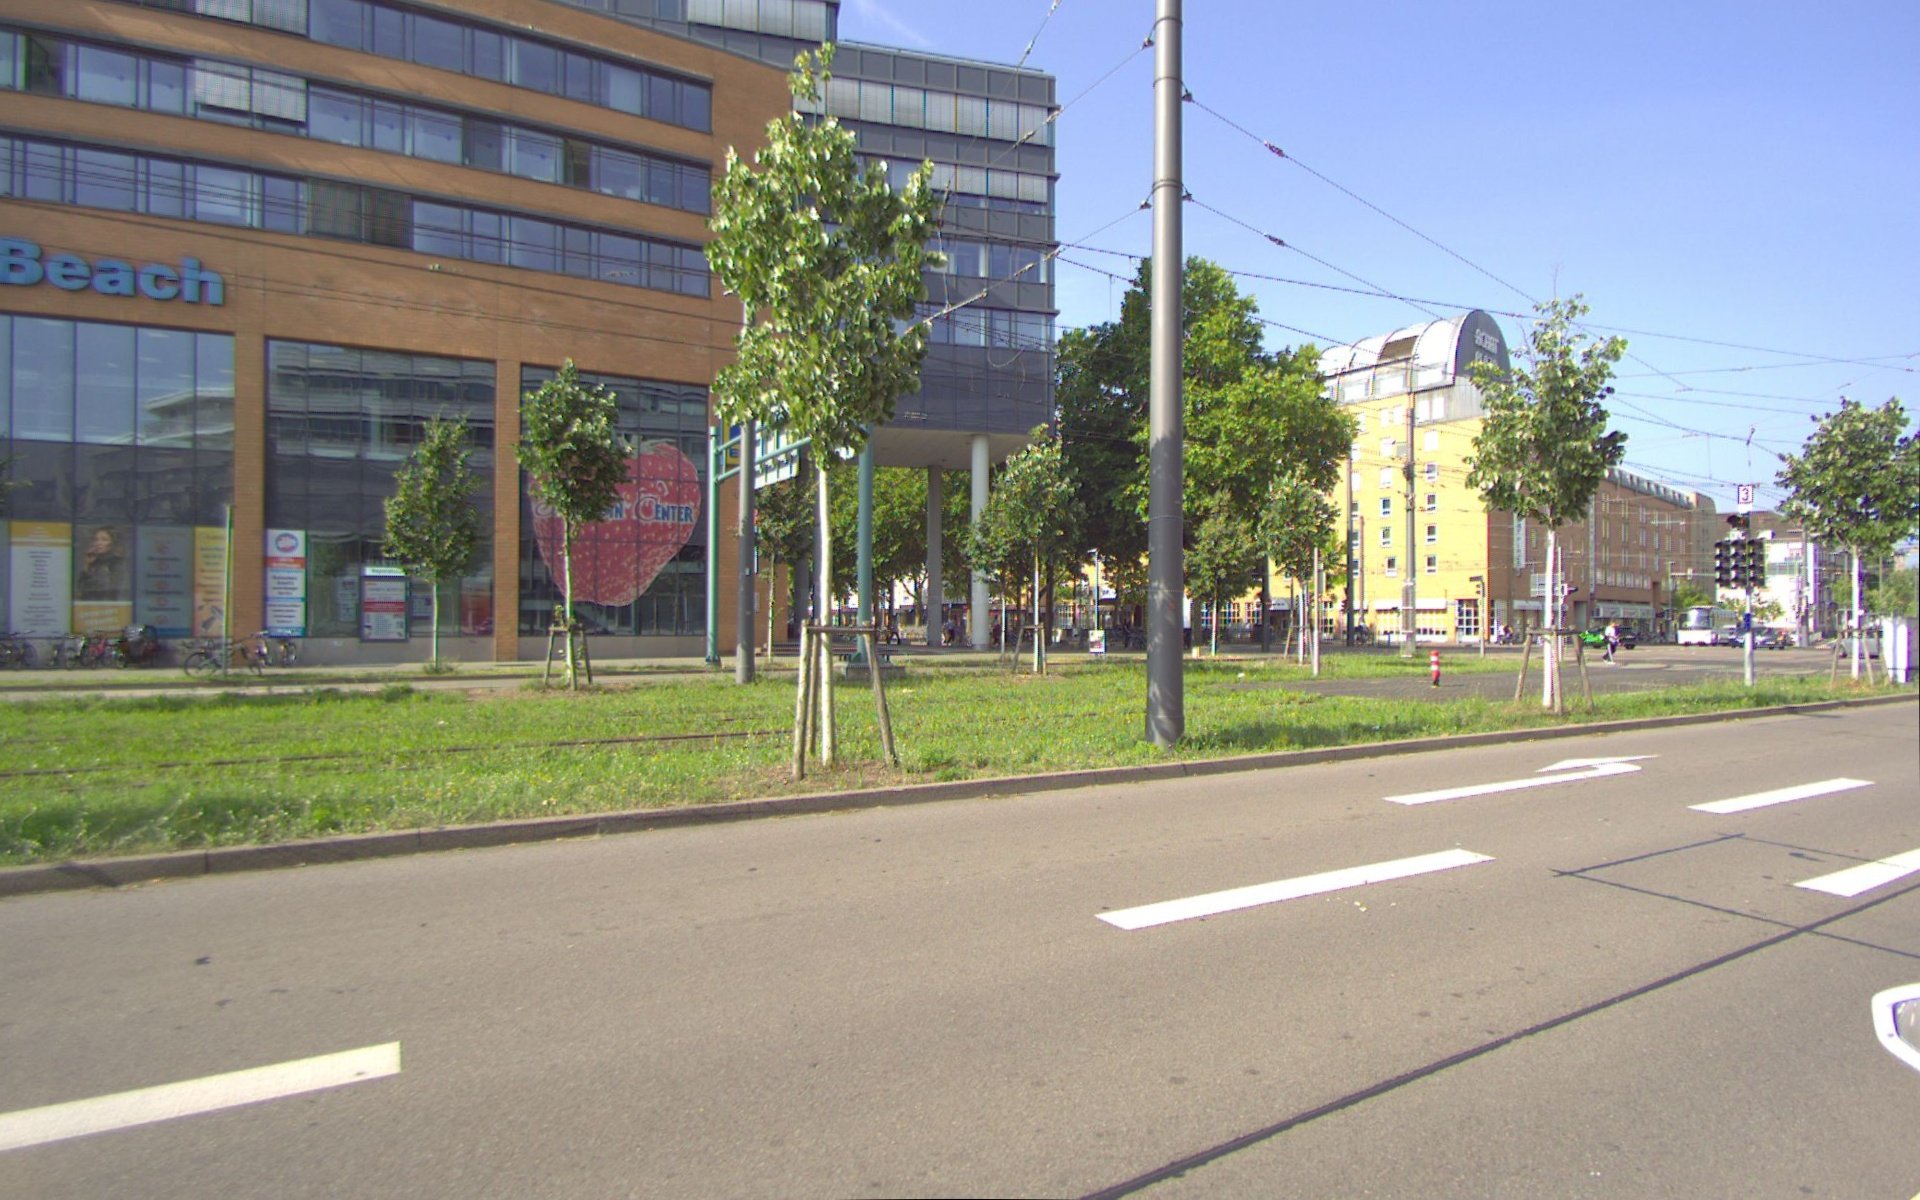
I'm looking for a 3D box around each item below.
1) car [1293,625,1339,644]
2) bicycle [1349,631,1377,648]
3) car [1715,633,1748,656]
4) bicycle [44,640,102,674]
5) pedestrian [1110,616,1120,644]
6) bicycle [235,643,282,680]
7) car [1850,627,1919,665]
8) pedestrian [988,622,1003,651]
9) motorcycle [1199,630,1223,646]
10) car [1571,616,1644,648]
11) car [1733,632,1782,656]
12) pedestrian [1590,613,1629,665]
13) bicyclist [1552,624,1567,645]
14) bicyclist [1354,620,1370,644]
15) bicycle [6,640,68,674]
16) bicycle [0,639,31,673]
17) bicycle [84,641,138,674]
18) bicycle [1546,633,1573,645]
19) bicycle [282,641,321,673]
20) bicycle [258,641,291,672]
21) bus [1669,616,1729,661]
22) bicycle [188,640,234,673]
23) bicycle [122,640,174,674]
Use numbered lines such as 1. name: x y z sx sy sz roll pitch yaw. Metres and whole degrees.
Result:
1. car: 32.532 3.121 91.892 1.851 1.645 3.584 1 -1 -38
2. bicycle: 30.031 2.922 74.851 2.257 1.222 0.546 2 -2 -27
3. car: 59.733 3.423 77.821 1.961 1.657 4.396 -1 -1 37
4. bicycle: -26.302 1.679 29.833 0.565 0.934 2.045 1 -1 -20
5. pedestrian: 11.426 2.188 74.158 0.535 2.040 0.485 3 -2 -39
6. bicycle: -19.136 1.665 27.439 0.700 0.919 1.671 1 -1 -23
7. car: 45.067 2.191 47.898 1.677 1.778 3.890 1 -2 -2
8. pedestrian: 1.930 1.971 54.655 0.652 1.563 0.617 0 -1 -13
9. motorcycle: 16.659 2.521 66.725 0.281 1.008 1.676 3 -2 -38
10. car: 43.064 2.152 66.938 1.963 2.040 3.995 2 -2 -8
11. car: 53.529 2.937 67.457 1.670 1.512 3.601 -1 -2 23
12. pedestrian: 25.777 1.544 39.848 0.771 2.040 1.144 3 -2 -43
13. bicyclist: 51.378 2.960 86.133 0.976 1.718 0.667 0 -2 43
14. bicyclist: 29.927 2.363 74.823 0.955 1.769 0.662 2 -2 -26
15. bicycle: -27.086 1.659 29.510 0.565 0.934 2.045 1 -1 -20
16. bicycle: -27.848 1.627 29.129 0.565 0.934 2.045 1 -1 -20
17. bicycle: -25.510 1.710 30.217 0.565 0.934 2.045 1 -1 -20
18. bicycle: 51.367 3.327 86.130 1.939 0.982 0.417 -1 -3 44
19. bicycle: -20.998 1.798 32.062 0.565 0.934 2.045 1 -1 -20
20. bicycle: -21.660 1.770 31.762 0.375 0.934 2.045 0 -1 -20
21. bus: 68.995 3.663 93.630 12.139 3.972 2.719 4 -3 -45
22. bicycle: -23.114 1.733 31.039 0.565 0.934 2.045 1 -1 -20
23. bicycle: -24.702 1.719 30.589 0.565 0.934 2.045 1 -1 -20
